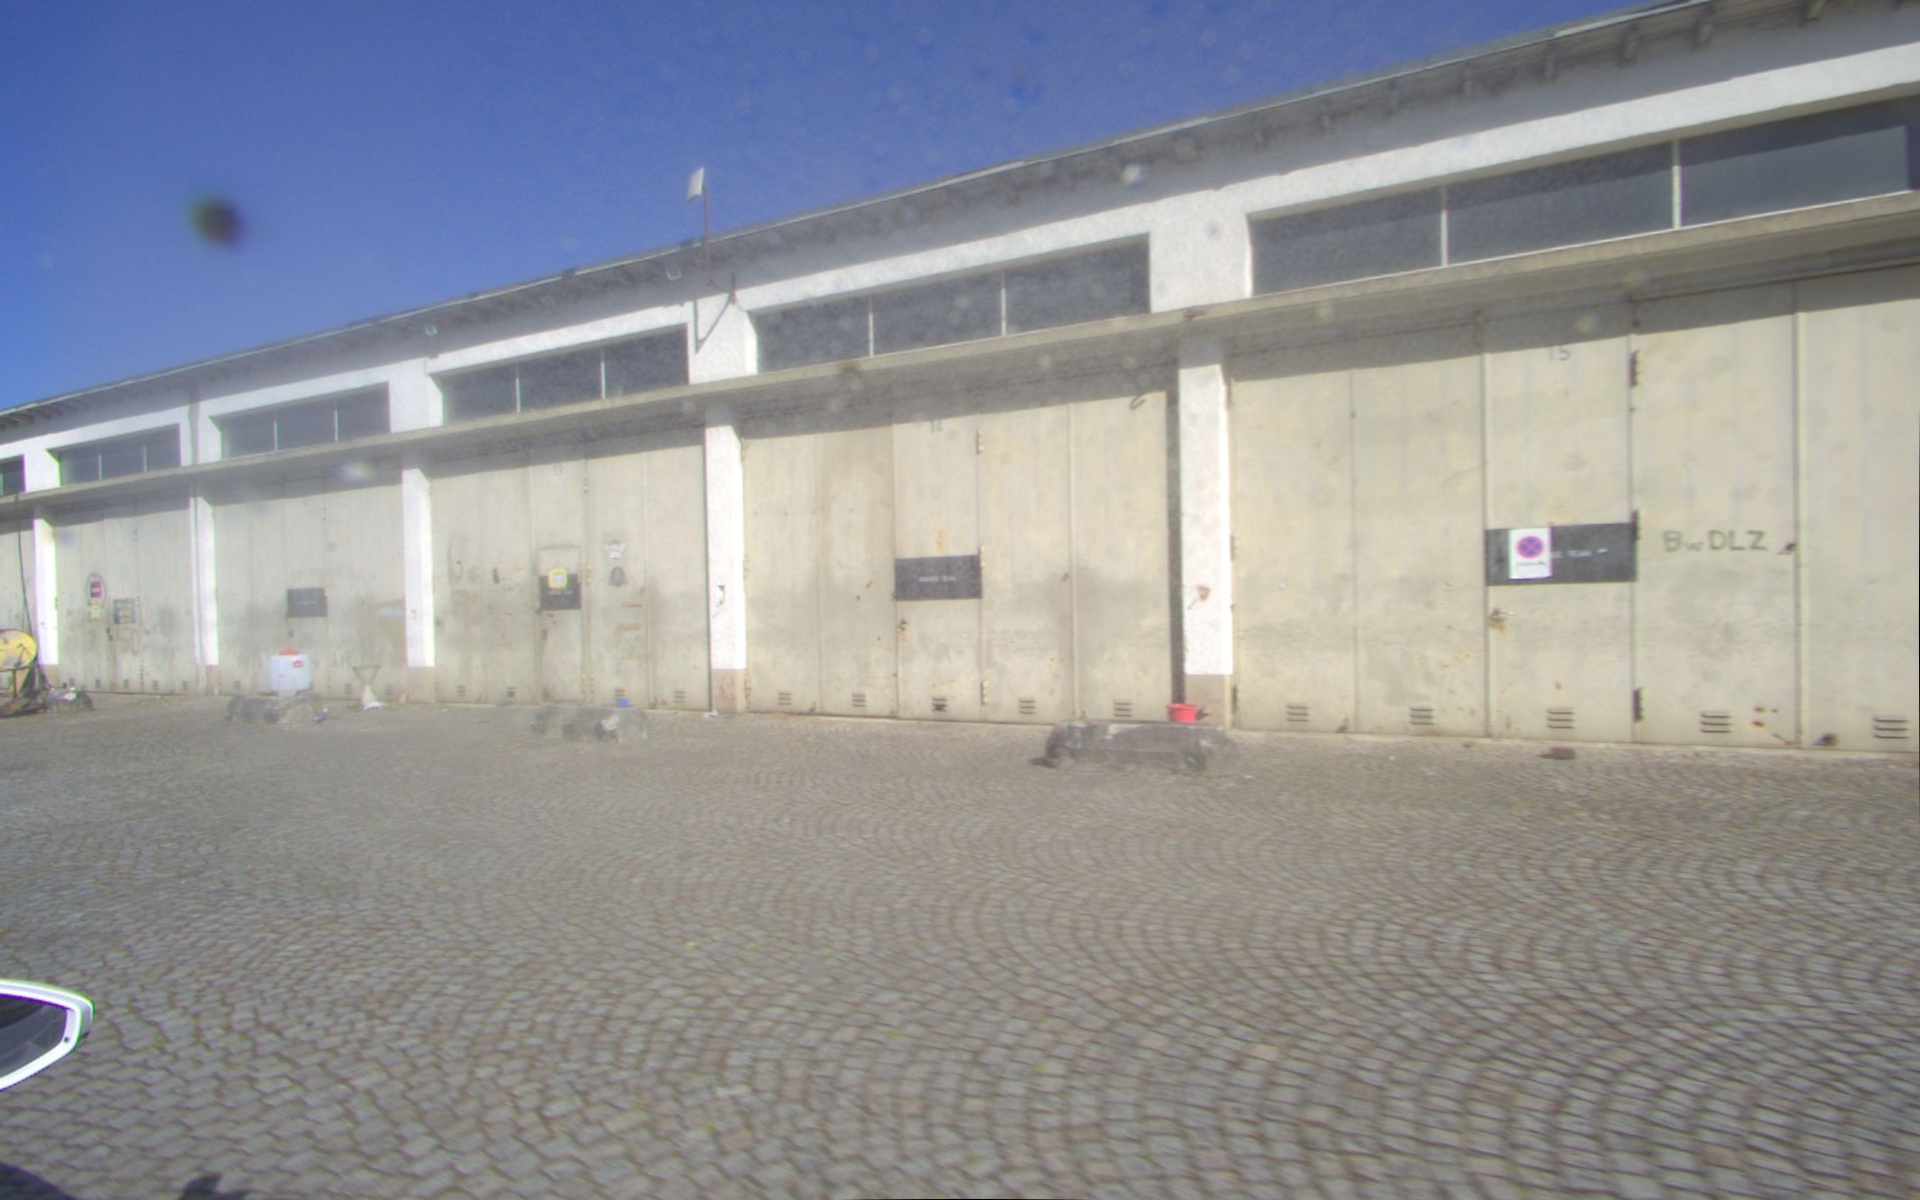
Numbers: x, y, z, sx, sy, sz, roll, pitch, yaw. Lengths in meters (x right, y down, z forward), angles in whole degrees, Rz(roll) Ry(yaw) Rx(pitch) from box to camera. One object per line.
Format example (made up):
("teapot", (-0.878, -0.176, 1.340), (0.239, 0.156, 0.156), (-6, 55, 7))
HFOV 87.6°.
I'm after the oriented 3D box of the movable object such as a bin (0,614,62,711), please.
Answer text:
("movable object such as a bin", (-14.605, 0.938, 15.352), (1.084, 1.420, 0.874), (-1, 1, 26))
